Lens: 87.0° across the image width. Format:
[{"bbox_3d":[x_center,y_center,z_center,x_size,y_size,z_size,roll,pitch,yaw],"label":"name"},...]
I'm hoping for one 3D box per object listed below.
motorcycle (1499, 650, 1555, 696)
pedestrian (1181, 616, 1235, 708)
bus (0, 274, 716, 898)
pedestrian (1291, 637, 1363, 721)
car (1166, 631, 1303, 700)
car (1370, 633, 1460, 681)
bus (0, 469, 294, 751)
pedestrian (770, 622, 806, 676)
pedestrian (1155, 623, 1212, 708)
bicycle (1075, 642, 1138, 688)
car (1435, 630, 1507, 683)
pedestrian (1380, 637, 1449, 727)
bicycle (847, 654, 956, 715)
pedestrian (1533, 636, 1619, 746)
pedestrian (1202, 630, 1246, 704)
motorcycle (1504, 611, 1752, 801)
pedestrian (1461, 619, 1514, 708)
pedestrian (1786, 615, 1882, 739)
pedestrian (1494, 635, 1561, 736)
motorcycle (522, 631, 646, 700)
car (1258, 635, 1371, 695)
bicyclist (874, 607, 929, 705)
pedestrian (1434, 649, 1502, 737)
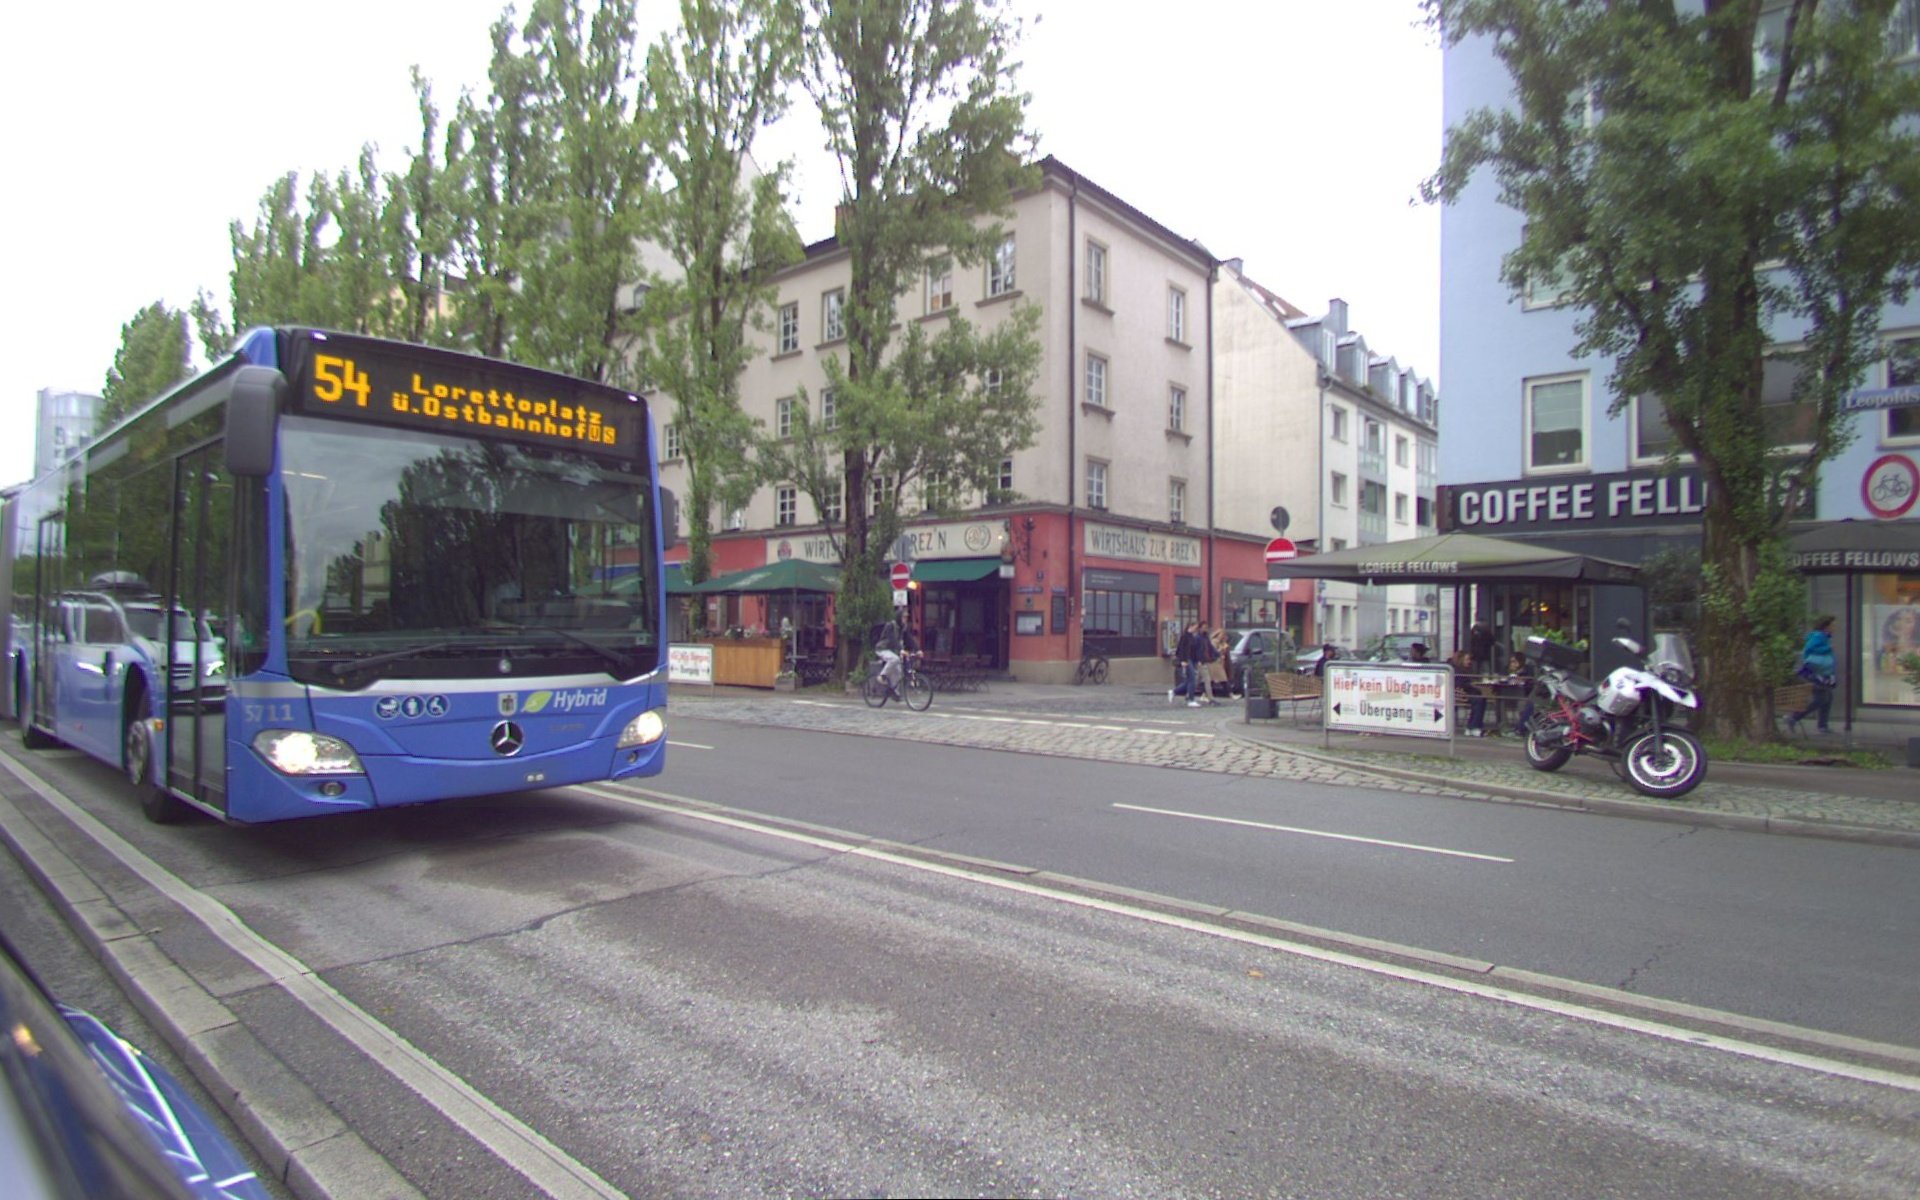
[{"bbox_3d":[15.715,1.994,28.016,0.738,1.213,2.729,-4,-5,42],"label":"motorcycle"},{"bbox_3d":[5.336,1.321,21.813,0.905,1.941,0.690,-2,-3,44],"label":"pedestrian"},{"bbox_3d":[-6.305,0.038,9.125,10.046,2.972,2.661,-1,-2,41],"label":"bus"},{"bbox_3d":[6.245,1.320,17.214,0.950,1.373,0.690,-2,-3,44],"label":"pedestrian"},{"bbox_3d":[7.751,1.805,28.265,1.982,1.780,4.525,-1,-4,40],"label":"car"},{"bbox_3d":[18.153,2.257,40.260,2.116,1.780,4.525,-1,-4,40],"label":"car"},{"bbox_3d":[-13.023,0.220,14.967,10.046,2.972,2.655,-1,-2,41],"label":"bus"},{"bbox_3d":[-5.406,1.539,31.775,0.689,1.659,0.930,2,-3,-44],"label":"pedestrian"},{"bbox_3d":[4.673,1.357,21.211,0.950,1.735,0.690,-2,-3,44],"label":"pedestrian"},{"bbox_3d":[4.041,1.763,27.766,0.645,1.214,2.317,-1,-3,39],"label":"bicycle"},{"bbox_3d":[24.208,2.649,47.876,1.982,2.384,4.523,-2,-4,42],"label":"car"},{"bbox_3d":[7.213,1.275,16.067,0.819,1.373,0.690,-2,-3,44],"label":"pedestrian"},{"bbox_3d":[-1.078,1.489,18.152,2.173,0.976,0.605,-1,-2,42],"label":"bicycle"},{"bbox_3d":[8.059,1.156,13.246,0.847,1.373,0.690,-1,-3,40],"label":"pedestrian"},{"bbox_3d":[5.985,1.504,22.929,0.732,1.636,0.690,-2,-3,44],"label":"pedestrian"},{"bbox_3d":[6.195,0.901,9.607,0.704,1.575,2.348,0,-1,-2],"label":"motorcycle"},{"bbox_3d":[10.895,1.304,20.940,0.692,1.786,0.947,0,-2,10],"label":"pedestrian"},{"bbox_3d":[12.188,1.055,14.149,0.949,1.659,0.691,-1,-3,39],"label":"pedestrian"},{"bbox_3d":[8.007,1.181,14.270,0.699,1.373,0.706,-1,-3,39],"label":"pedestrian"},{"bbox_3d":[-8.081,1.392,21.765,2.426,1.425,0.744,0,-2,8],"label":"motorcycle"},{"bbox_3d":[11.505,2.091,32.702,1.982,1.780,4.525,-1,-4,40],"label":"car"},{"bbox_3d":[-1.051,0.988,18.143,0.816,1.718,0.598,-1,-2,42],"label":"bicyclist"},{"bbox_3d":[7.193,1.292,14.330,0.699,1.192,0.807,-1,-3,39],"label":"pedestrian"}]
